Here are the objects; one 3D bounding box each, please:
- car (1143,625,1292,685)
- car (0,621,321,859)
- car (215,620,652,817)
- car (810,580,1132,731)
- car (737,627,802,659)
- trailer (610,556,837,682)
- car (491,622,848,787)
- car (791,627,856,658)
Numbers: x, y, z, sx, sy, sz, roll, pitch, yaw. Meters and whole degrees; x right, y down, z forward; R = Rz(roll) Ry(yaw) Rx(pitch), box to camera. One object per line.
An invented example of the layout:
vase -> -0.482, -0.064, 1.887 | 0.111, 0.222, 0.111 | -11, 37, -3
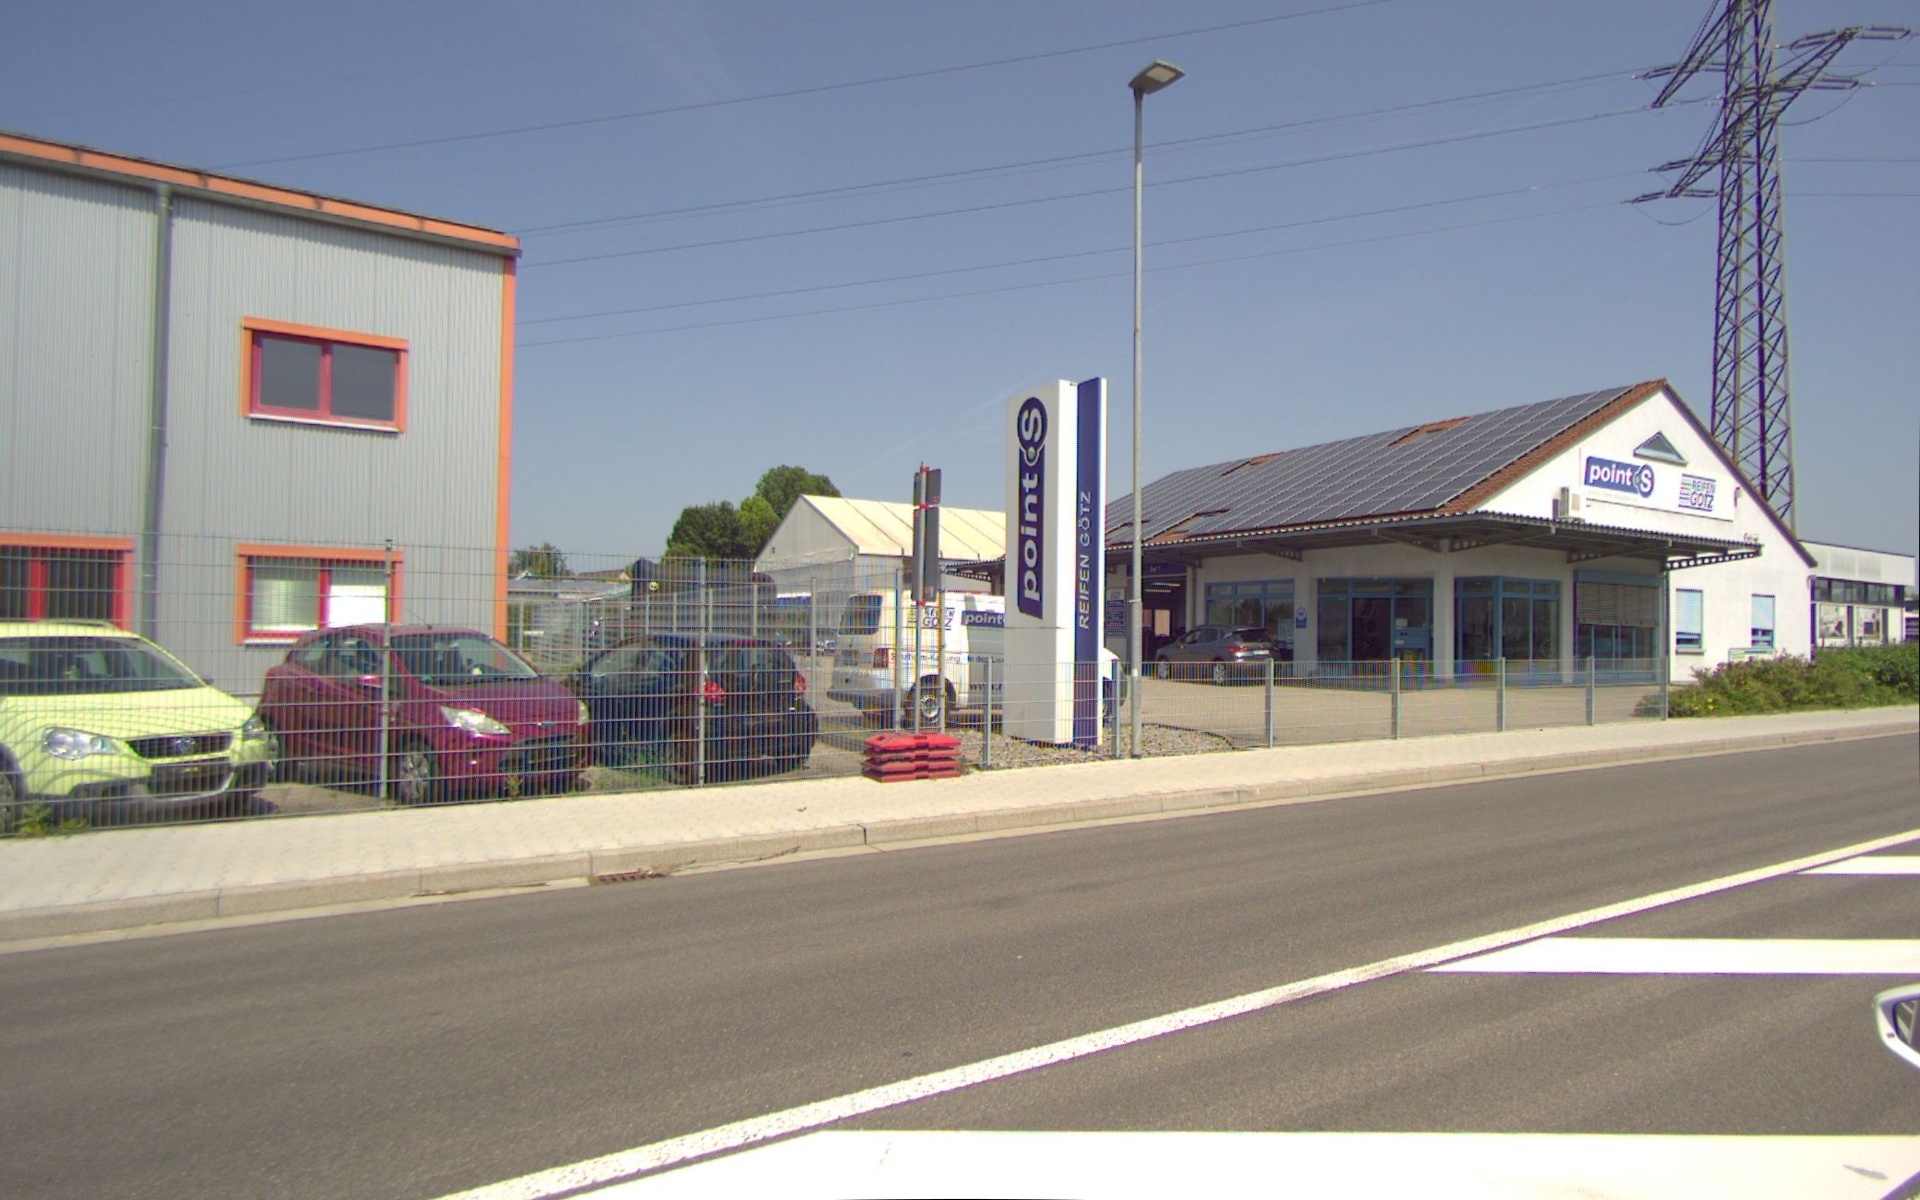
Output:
car -> 6.890, 1.451, 27.300 | 1.761, 1.505, 3.973 | 1, -2, -27
car -> -7.300, 0.933, 8.079 | 4.016, 1.513, 1.743 | 0, -2, 25
car -> -5.025, 0.966, 9.543 | 3.926, 1.513, 1.742 | 0, -2, 28
car -> 0.222, 0.861, 15.589 | 4.625, 2.040, 1.985 | 2, -3, -30
car -> -9.348, 2.083, 49.069 | 1.765, 1.467, 3.965 | 1, -2, -33
trailer -> -5.886, 0.530, 25.188 | 5.066, 2.886, 2.151 | 2, -1, -31
car -> -3.311, 1.020, 11.210 | 3.934, 1.513, 1.738 | 0, -2, 35
car -> -6.902, 2.137, 50.448 | 1.765, 1.467, 3.965 | 1, -2, -33
